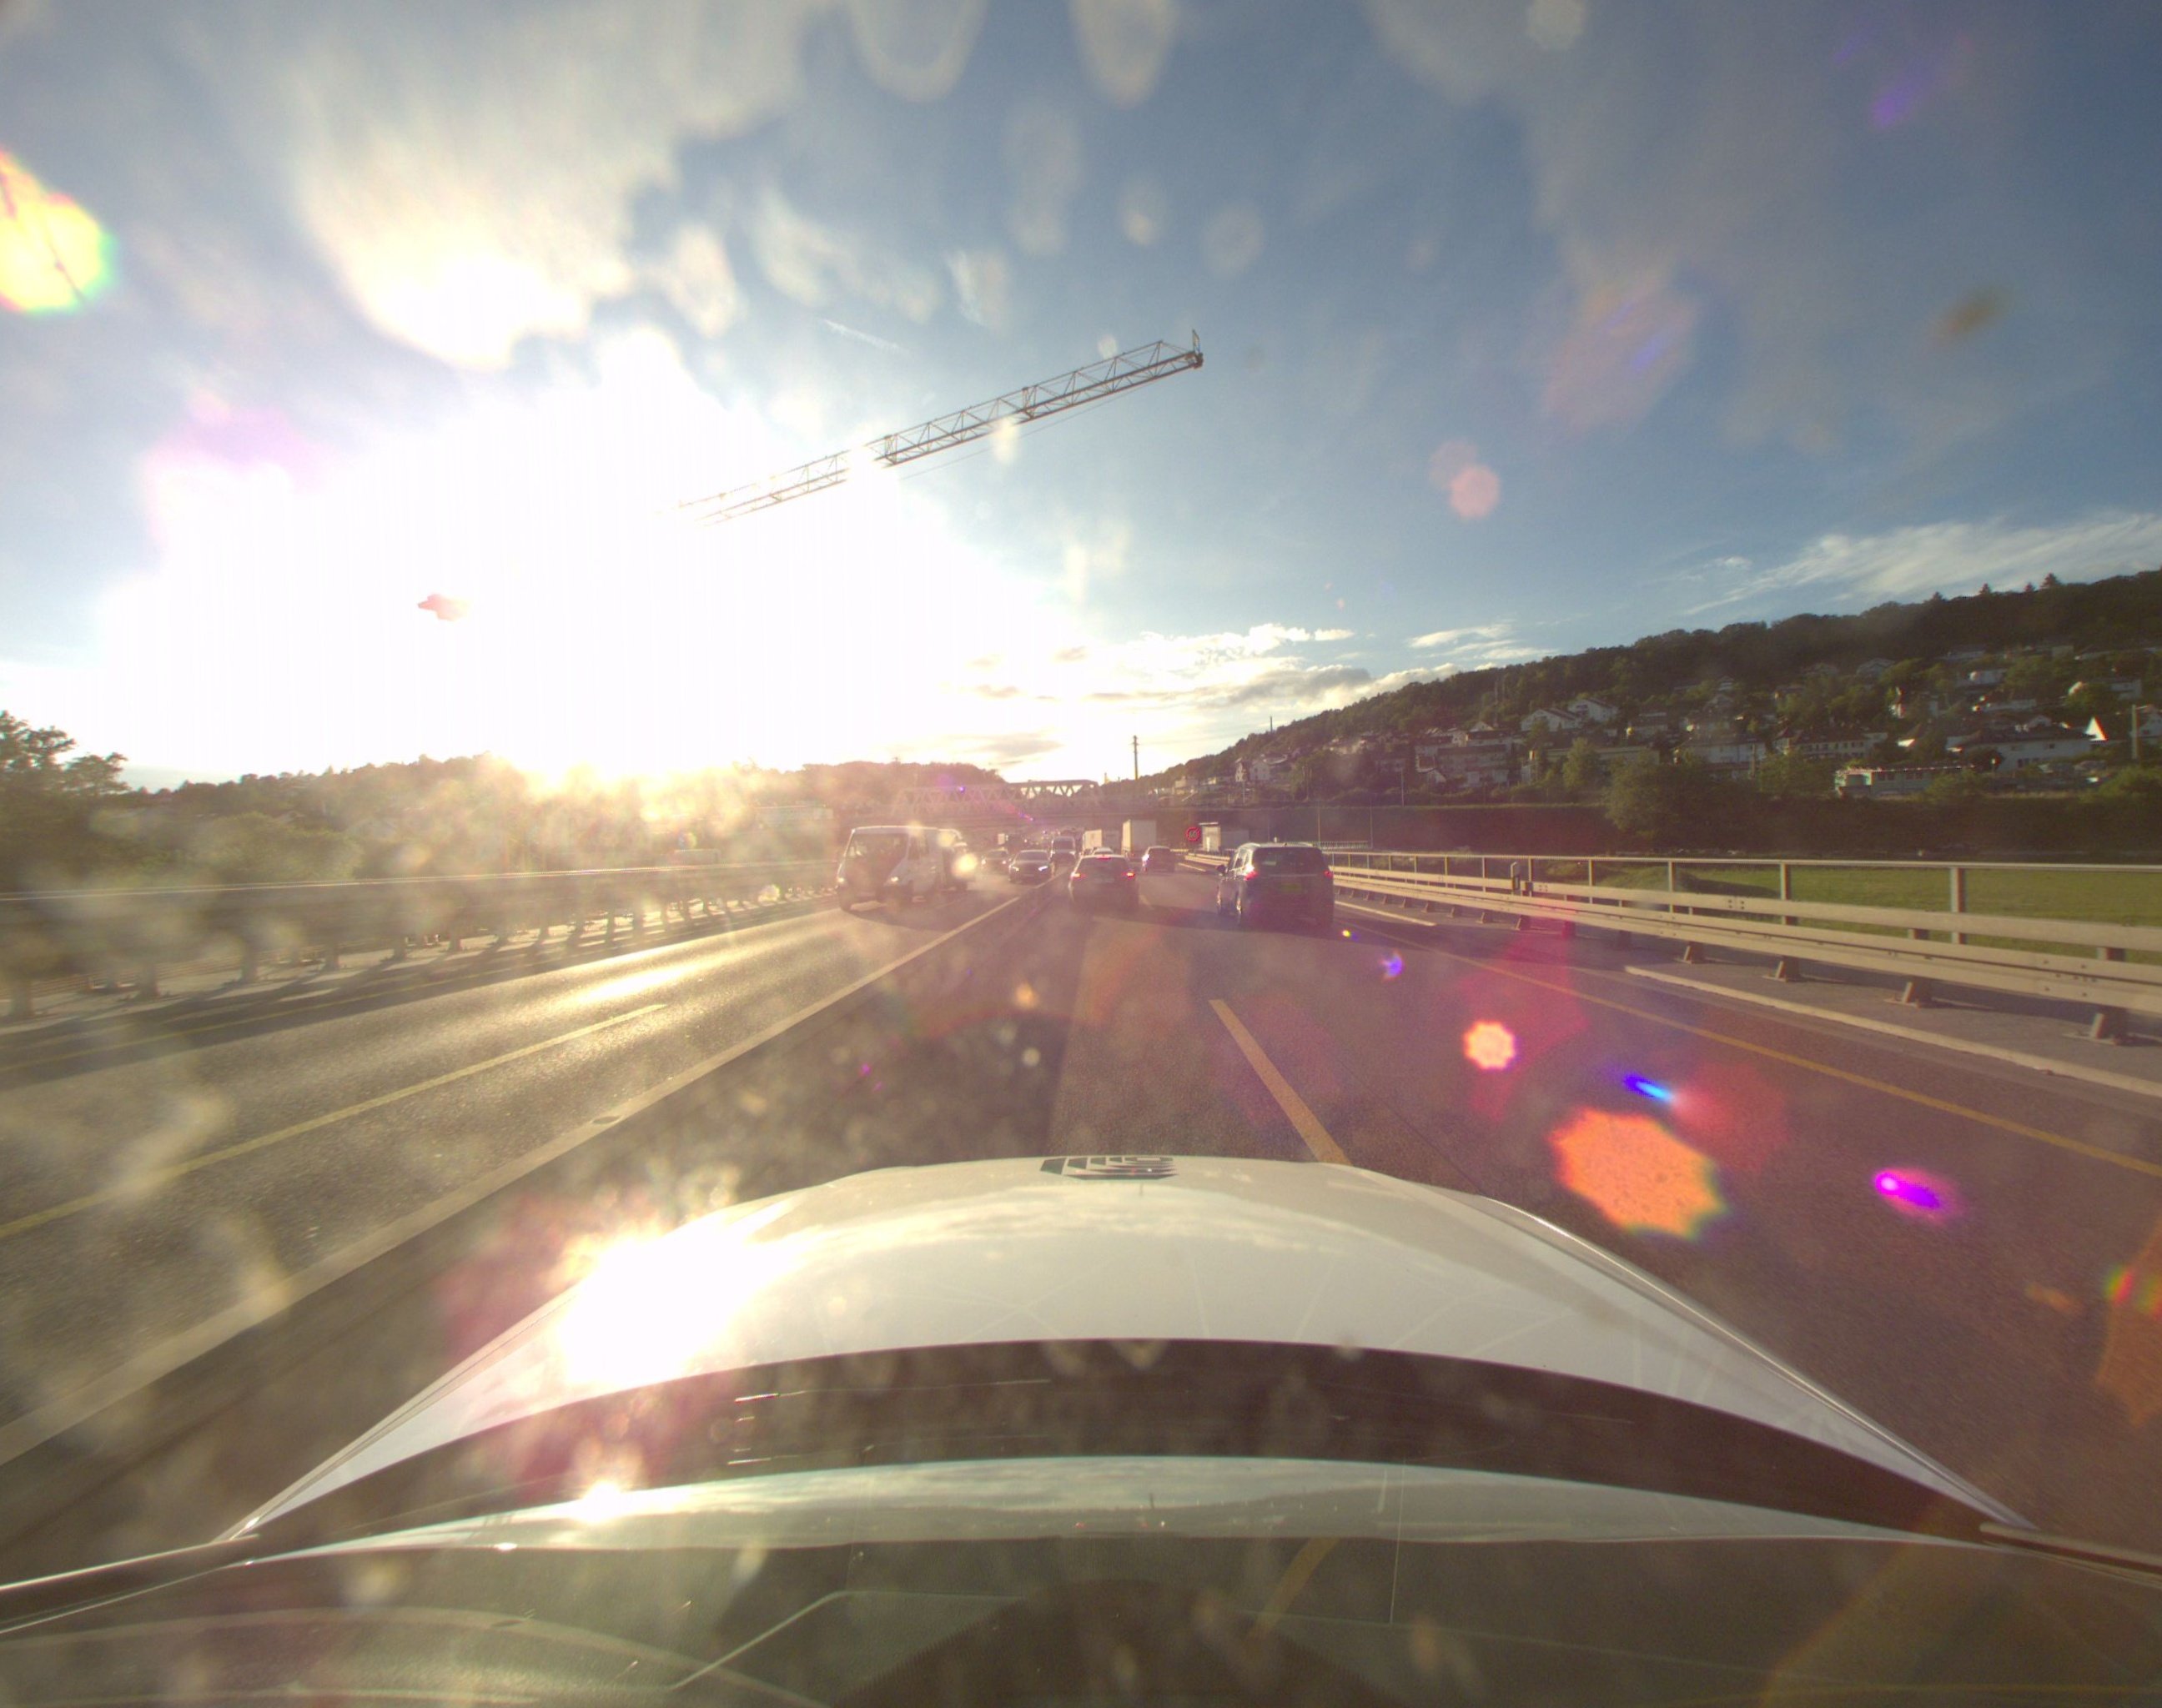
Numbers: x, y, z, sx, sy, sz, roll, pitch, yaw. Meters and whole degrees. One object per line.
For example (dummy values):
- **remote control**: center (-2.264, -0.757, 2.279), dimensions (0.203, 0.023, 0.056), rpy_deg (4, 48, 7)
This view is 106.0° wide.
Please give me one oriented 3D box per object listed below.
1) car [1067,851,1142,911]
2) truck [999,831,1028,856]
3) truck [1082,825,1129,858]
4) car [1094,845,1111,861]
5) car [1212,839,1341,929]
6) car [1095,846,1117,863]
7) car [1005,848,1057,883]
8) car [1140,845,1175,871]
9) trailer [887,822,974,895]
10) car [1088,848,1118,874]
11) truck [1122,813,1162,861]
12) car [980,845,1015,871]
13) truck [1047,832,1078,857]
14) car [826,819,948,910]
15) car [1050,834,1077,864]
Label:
- **car**: center (0.580, 0.637, 21.321), dimensions (1.764, 1.390, 4.001), rpy_deg (0, 1, 1)
- **truck**: center (-11.052, -1.631, 132.480), dimensions (2.935, 3.890, 10.213), rpy_deg (-1, 1, -14)
- **truck**: center (3.364, -1.760, 117.675), dimensions (3.890, 4.498, 15.216), rpy_deg (0, 0, -10)
- **car**: center (2.333, -0.134, 89.350), dimensions (1.694, 1.732, 3.997), rpy_deg (0, 1, -2)
- **car**: center (3.956, 0.531, 17.212), dimensions (1.807, 1.632, 4.413), rpy_deg (0, 1, 2)
- **car**: center (2.216, 0.020, 72.234), dimensions (1.757, 1.486, 4.005), rpy_deg (0, 1, 4)
- **car**: center (-2.295, 0.470, 38.902), dimensions (1.987, 1.530, 5.782), rpy_deg (-1, 0, 1)
- **car**: center (4.854, 0.210, 51.819), dimensions (1.765, 1.552, 3.998), rpy_deg (0, 1, -1)
- **trailer**: center (-5.297, 0.125, 29.480), dimensions (2.069, 2.420, 5.220), rpy_deg (0, 1, 1)
- **car**: center (1.322, 0.389, 50.341), dimensions (1.759, 1.486, 4.000), rpy_deg (0, 1, 0)
- **truck**: center (6.101, -1.663, 84.076), dimensions (3.373, 4.498, 15.273), rpy_deg (0, 0, 2)
- **car**: center (-5.331, 0.234, 52.397), dimensions (1.611, 1.552, 4.090), rpy_deg (-1, 0, 2)
- **truck**: center (-3.636, -1.947, 154.455), dimensions (3.892, 4.497, 13.799), rpy_deg (0, 2, -11)
- **car**: center (-5.471, 0.241, 23.879), dimensions (1.986, 2.323, 5.936), rpy_deg (0, 0, 1)
- **car**: center (-1.427, -0.461, 70.540), dimensions (2.066, 2.457, 6.268), rpy_deg (0, 1, 1)
